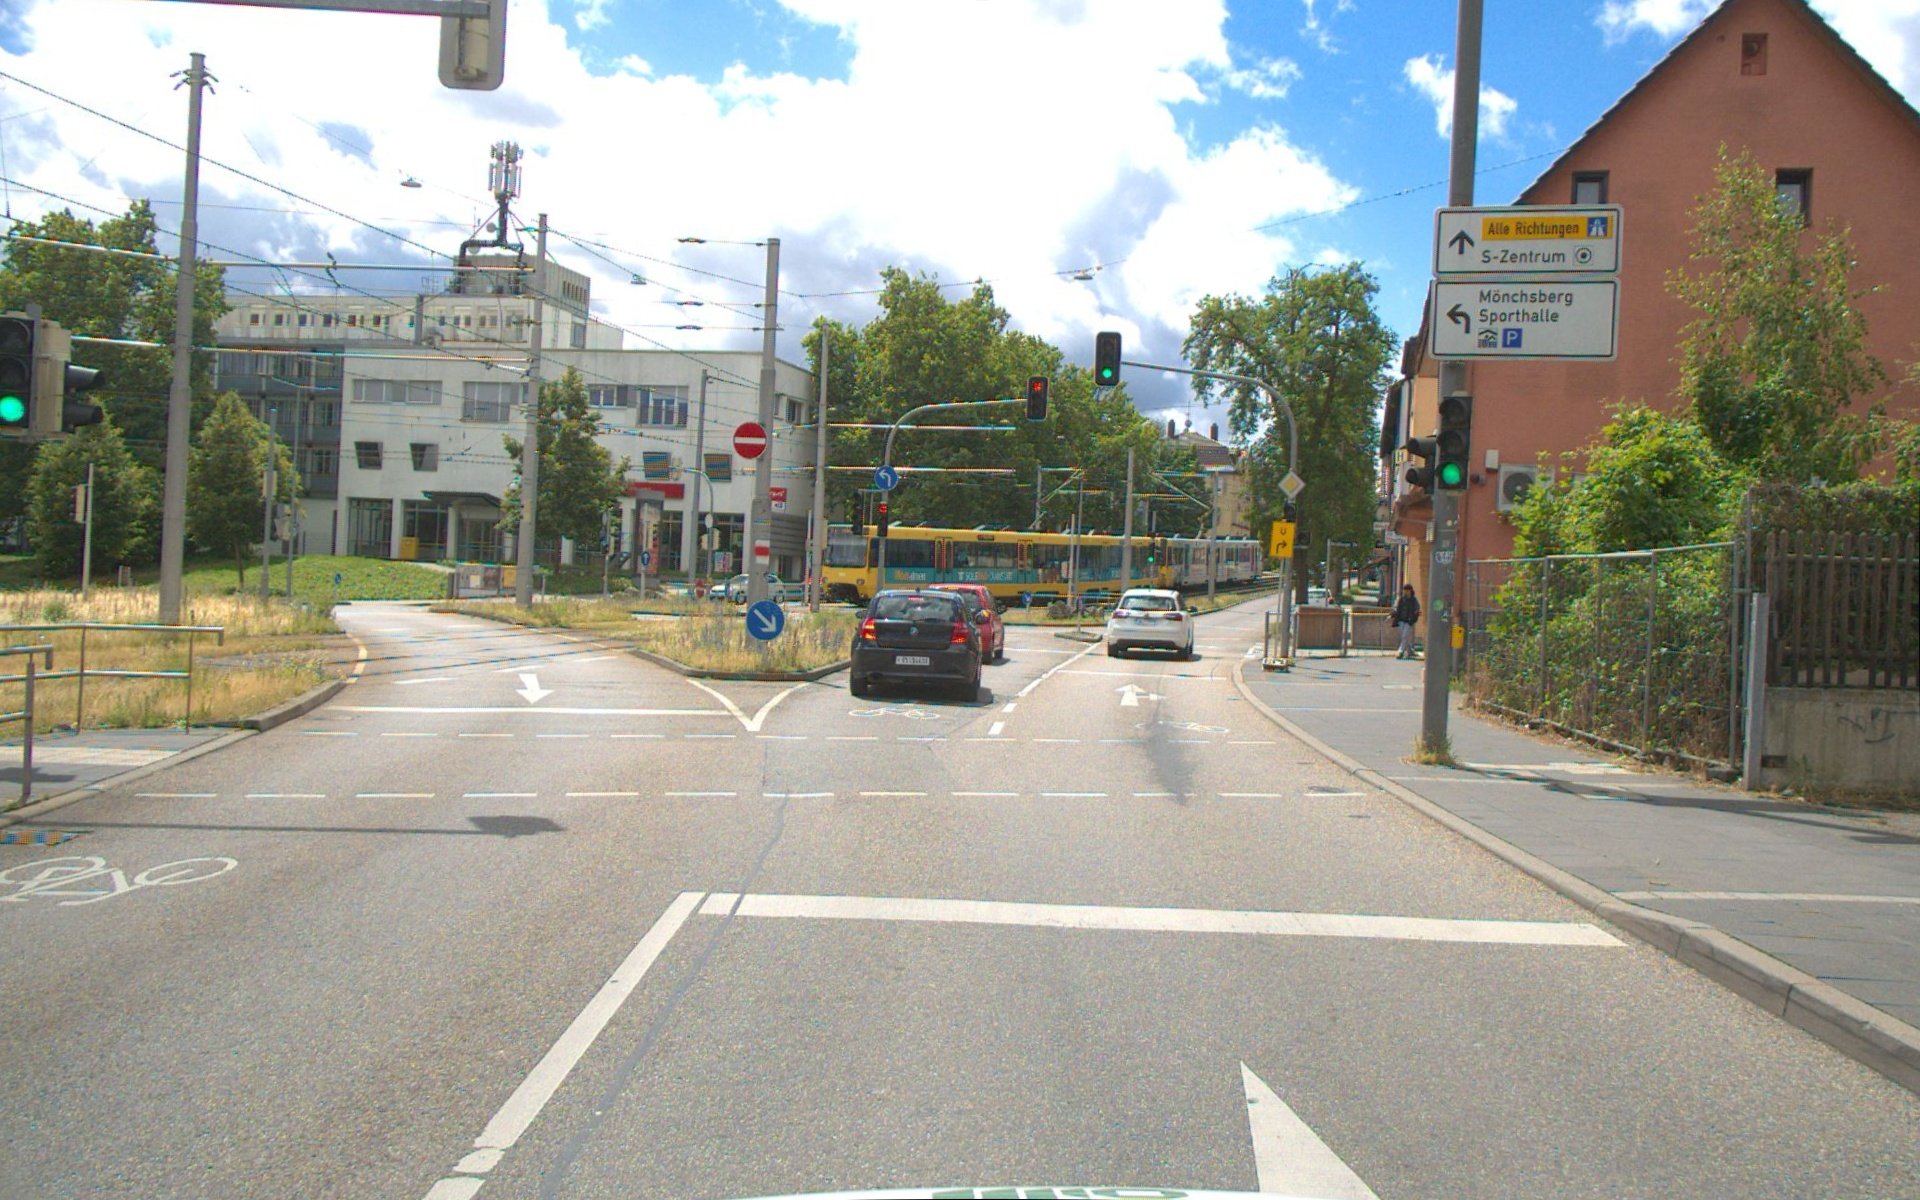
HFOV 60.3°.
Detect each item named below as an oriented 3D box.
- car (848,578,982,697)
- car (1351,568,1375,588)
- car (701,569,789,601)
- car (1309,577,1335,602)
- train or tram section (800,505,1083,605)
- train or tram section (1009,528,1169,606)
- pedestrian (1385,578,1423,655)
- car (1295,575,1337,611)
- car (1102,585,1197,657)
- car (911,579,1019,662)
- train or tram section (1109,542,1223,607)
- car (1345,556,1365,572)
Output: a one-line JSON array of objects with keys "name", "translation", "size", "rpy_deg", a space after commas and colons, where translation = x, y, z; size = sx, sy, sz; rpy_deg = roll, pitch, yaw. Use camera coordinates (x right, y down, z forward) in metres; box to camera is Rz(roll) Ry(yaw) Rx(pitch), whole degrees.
[{"name": "car", "translation": [-0.592, 0.477, 22.883], "size": [1.666, 1.477, 3.999], "rpy_deg": [1, 0, -1]}, {"name": "car", "translation": [39.831, -2.213, 163.409], "size": [2.078, 1.890, 3.740], "rpy_deg": [2, 1, 15]}, {"name": "car", "translation": [-10.235, -0.712, 78.928], "size": [1.855, 1.442, 3.976], "rpy_deg": [1, 0, 42]}, {"name": "car", "translation": [29.445, -0.865, 134.412], "size": [1.870, 1.890, 3.740], "rpy_deg": [2, 1, 15]}, {"name": "train or tram section", "translation": [-0.276, -1.880, 78.031], "size": [3.682, 3.987, 18.846], "rpy_deg": [1, 0, 32]}, {"name": "train or tram section", "translation": [7.794, -1.684, 94.645], "size": [3.672, 3.896, 20.150], "rpy_deg": [1, 0, 20]}, {"name": "pedestrian", "translation": [9.895, 0.357, 36.892], "size": [0.748, 1.671, 0.778], "rpy_deg": [1, 1, 13]}, {"name": "car", "translation": [16.620, -0.297, 77.129], "size": [1.749, 1.624, 4.003], "rpy_deg": [1, 0, 14]}, {"name": "car", "translation": [4.356, 0.435, 37.518], "size": [1.776, 1.494, 4.004], "rpy_deg": [1, 1, 11]}, {"name": "car", "translation": [0.152, 0.348, 32.738], "size": [1.590, 1.499, 4.003], "rpy_deg": [2, 1, 8]}, {"name": "train or tram section", "translation": [14.427, -1.555, 113.390], "size": [3.671, 3.947, 20.642], "rpy_deg": [1, 0, 19]}, {"name": "car", "translation": [54.359, -4.935, 227.683], "size": [1.953, 2.049, 3.999], "rpy_deg": [1, 0, 23]}]
